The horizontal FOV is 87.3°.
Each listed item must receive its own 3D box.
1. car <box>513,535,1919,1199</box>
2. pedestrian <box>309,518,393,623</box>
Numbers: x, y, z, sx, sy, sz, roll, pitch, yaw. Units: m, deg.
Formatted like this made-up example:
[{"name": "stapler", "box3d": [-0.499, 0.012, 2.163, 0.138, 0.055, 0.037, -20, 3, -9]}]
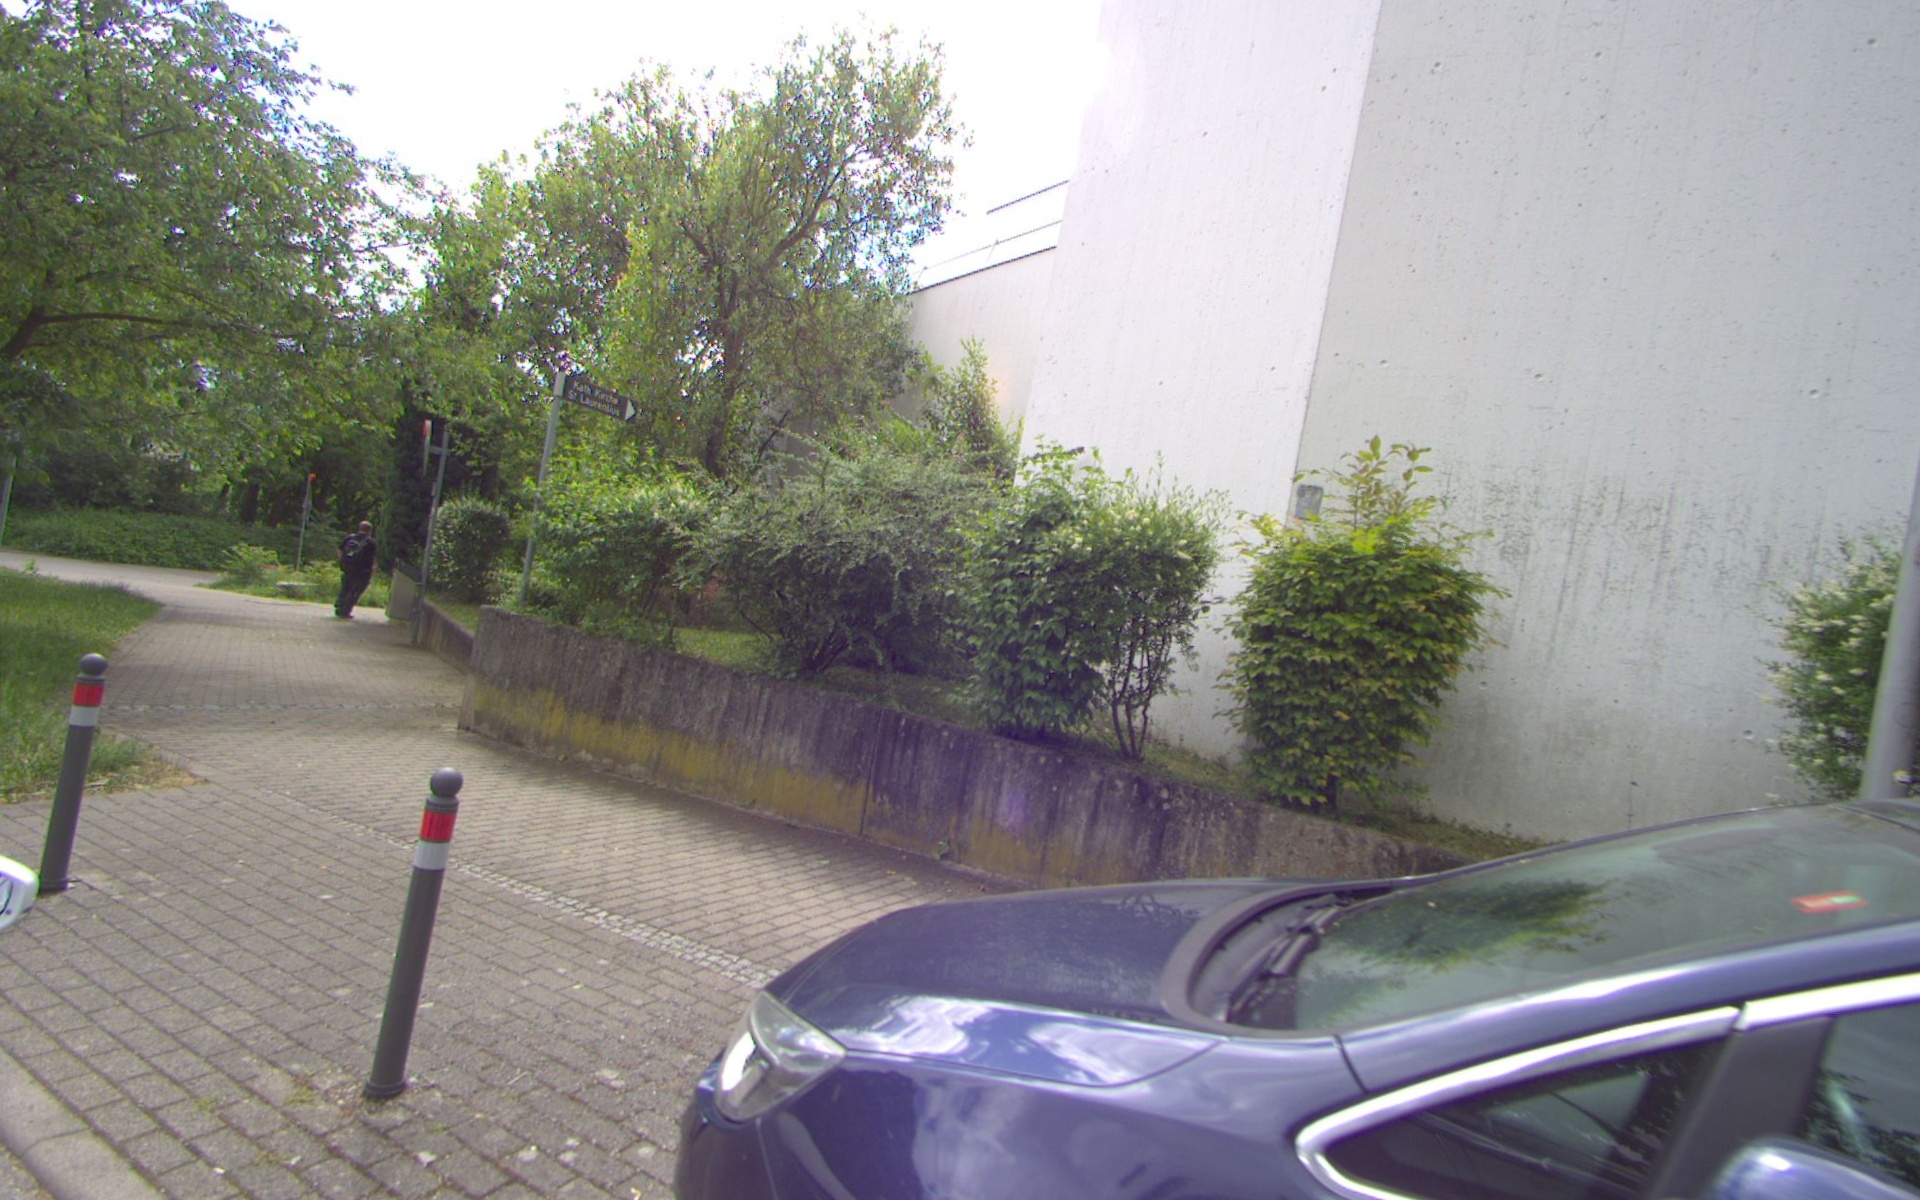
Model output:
[{"name": "car", "box3d": [1.418, 0.894, 1.341, 3.933, 1.437, 1.694, 7, -1, 31]}, {"name": "pedestrian", "box3d": [-11.020, -0.528, 18.221, 0.772, 1.757, 0.834, 7, -1, 27]}]
